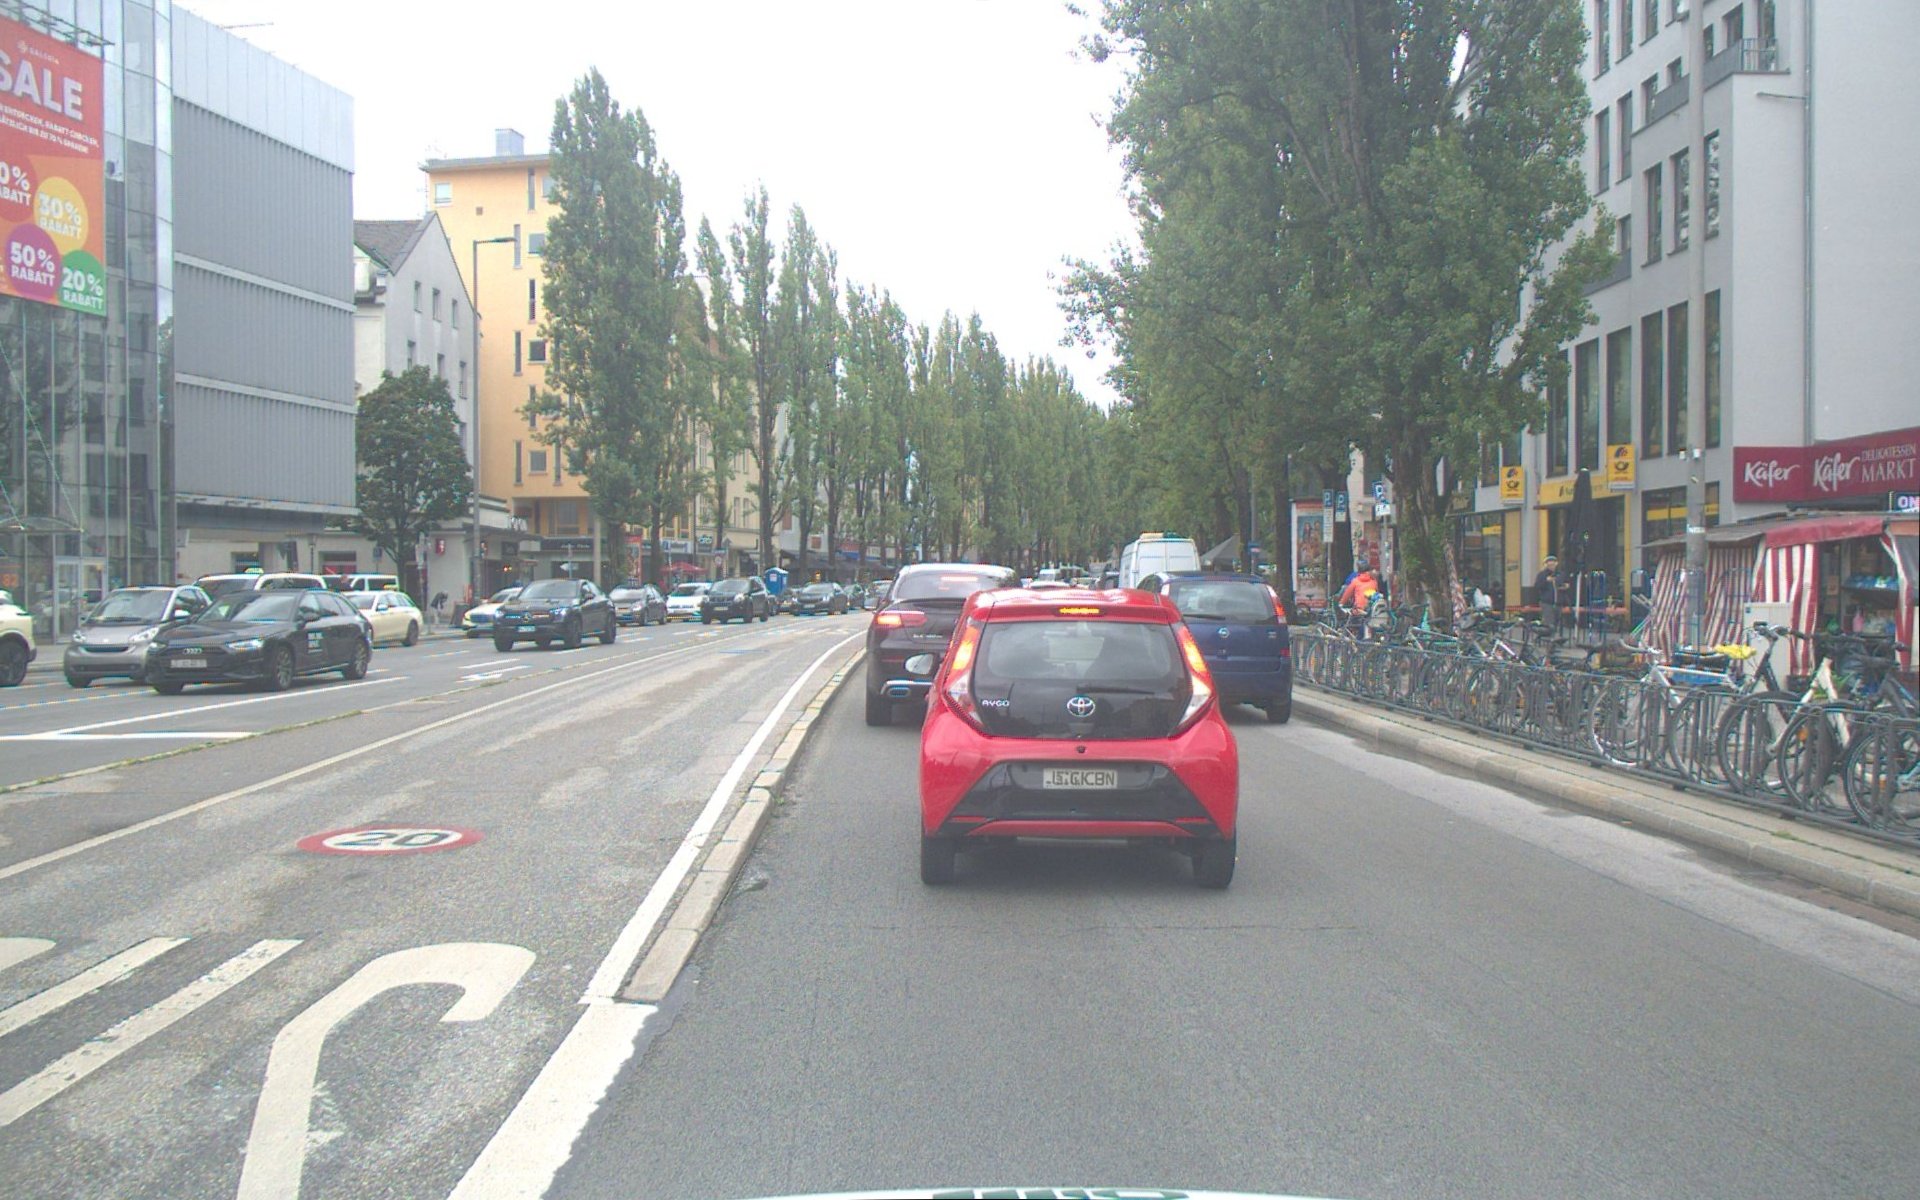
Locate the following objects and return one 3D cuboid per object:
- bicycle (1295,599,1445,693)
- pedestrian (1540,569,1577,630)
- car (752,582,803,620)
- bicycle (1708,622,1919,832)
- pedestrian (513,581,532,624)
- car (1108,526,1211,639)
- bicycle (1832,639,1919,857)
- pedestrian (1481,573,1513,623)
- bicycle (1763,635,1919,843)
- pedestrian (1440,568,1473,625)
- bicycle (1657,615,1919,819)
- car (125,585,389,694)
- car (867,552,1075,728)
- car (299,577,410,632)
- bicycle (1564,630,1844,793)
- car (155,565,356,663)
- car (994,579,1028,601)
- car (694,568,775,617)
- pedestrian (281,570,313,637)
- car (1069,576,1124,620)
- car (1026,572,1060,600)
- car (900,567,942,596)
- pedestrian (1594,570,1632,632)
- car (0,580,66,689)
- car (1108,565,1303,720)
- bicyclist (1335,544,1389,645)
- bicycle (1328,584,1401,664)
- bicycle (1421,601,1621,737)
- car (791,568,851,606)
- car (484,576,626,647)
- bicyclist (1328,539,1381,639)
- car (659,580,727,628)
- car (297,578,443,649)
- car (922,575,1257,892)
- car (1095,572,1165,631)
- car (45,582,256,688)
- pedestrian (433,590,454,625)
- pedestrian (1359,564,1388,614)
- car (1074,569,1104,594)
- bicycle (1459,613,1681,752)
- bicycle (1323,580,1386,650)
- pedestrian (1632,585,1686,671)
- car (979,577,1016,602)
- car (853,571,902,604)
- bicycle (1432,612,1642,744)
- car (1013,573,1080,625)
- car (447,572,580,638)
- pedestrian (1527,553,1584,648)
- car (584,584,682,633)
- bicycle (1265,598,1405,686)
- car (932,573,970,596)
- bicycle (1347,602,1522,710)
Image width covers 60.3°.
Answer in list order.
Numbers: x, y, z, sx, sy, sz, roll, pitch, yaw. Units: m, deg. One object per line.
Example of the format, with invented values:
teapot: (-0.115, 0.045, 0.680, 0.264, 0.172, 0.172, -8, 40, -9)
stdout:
bicycle: (5.277, 0.578, 21.351, 1.800, 1.156, 0.584, 0, 1, 35)
pedestrian: (15.650, -0.010, 43.267, 0.698, 1.585, 0.676, 0, 0, -1)
car: (-9.268, 0.024, 84.422, 1.817, 1.847, 4.002, 2, 0, 4)
bicycle: (5.563, 0.751, 10.018, 1.805, 1.188, 0.583, 0, 1, 42)
pedestrian: (-20.781, 0.105, 78.583, 0.673, 2.032, 0.765, 0, 0, -1)
car: (5.158, -0.475, 43.339, 2.064, 2.766, 4.804, -1, 1, 0)
bicycle: (5.626, 0.797, 8.691, 1.772, 1.130, 0.583, 0, 1, 42)
pedestrian: (14.490, -0.061, 44.607, 0.625, 1.328, 0.676, 0, 0, -1)
bicycle: (5.557, 0.788, 9.354, 1.772, 1.130, 0.488, 0, 1, 42)
pedestrian: (13.814, -0.104, 46.065, 0.698, 1.585, 0.676, 0, 0, -1)
bicycle: (5.574, 0.725, 10.800, 1.805, 1.218, 0.583, 0, 1, 42)
car: (-10.213, 0.511, 24.448, 1.806, 1.406, 4.602, -1, 1, 2)
car: (0.052, 0.347, 17.653, 1.953, 1.646, 3.999, -1, 1, -2)
car: (-20.809, 0.119, 57.045, 1.830, 1.803, 4.245, -1, 1, 7)
bicycle: (5.460, 0.781, 12.206, 1.805, 1.070, 0.583, 0, 1, 42)
car: (-15.824, 0.260, 37.534, 1.952, 2.049, 5.525, 0, 1, 3)
car: (4.014, -0.798, 129.542, 1.951, 1.721, 4.418, -1, 1, 11)
car: (-8.146, -0.297, 60.237, 1.951, 1.721, 4.924, 0, 1, 4)
pedestrian: (-18.404, 0.090, 45.919, 0.545, 1.849, 0.628, 0, 0, 10)
car: (5.029, -0.089, 61.231, 1.668, 1.556, 3.555, 0, 1, -1)
car: (4.655, -0.795, 92.318, 1.735, 1.464, 3.941, 0, 1, 5)
car: (-2.353, -1.123, 100.869, 1.951, 1.721, 4.924, 0, 1, 6)
pedestrian: (16.791, 0.024, 42.555, 0.698, 1.585, 0.676, 0, 0, -1)
car: (-16.094, 0.546, 25.381, 1.951, 1.708, 4.187, 0, 1, 11)
car: (2.734, 0.416, 19.089, 1.668, 1.617, 3.555, 0, 1, -1)
bicyclist: (6.874, -0.107, 28.333, 0.601, 1.686, 1.251, -1, 1, -1)
bicycle: (6.882, 0.374, 28.266, 0.601, 1.287, 2.519, -1, 1, 0)
bicycle: (5.530, 0.651, 16.367, 1.805, 1.263, 0.583, 0, 1, 42)
car: (-6.416, -0.632, 76.859, 1.951, 1.721, 4.925, 0, 1, 6)
car: (-9.382, 0.226, 38.680, 1.952, 1.561, 4.590, -1, 1, 3)
bicyclist: (7.634, -0.213, 32.029, 0.747, 1.902, 1.132, -1, 1, -1)
car: (-10.948, 0.132, 68.096, 1.817, 1.847, 4.002, 2, 0, 4)
car: (-15.281, 0.315, 43.127, 1.952, 1.684, 4.535, 2, 0, 3)
car: (0.605, 0.609, 9.380, 1.572, 1.487, 3.130, 0, 1, 0)
car: (5.050, 0.017, 49.393, 1.668, 1.691, 3.555, 0, 1, -1)
car: (-12.965, 0.517, 26.703, 1.590, 1.579, 3.386, 0, 1, 3)
pedestrian: (-19.534, 0.290, 62.560, 0.545, 1.313, 0.628, 0, 1, 10)
pedestrian: (13.597, -0.373, 54.393, 0.748, 1.621, 0.676, -1, 1, -1)
car: (10.007, -1.463, 128.006, 1.951, 1.870, 4.004, -1, 1, 9)
bicycle: (5.487, 0.711, 14.938, 1.805, 1.156, 0.583, 0, 1, 42)
bicycle: (7.641, 0.262, 32.138, 0.601, 1.287, 2.519, -1, 1, 0)
pedestrian: (13.433, 0.534, 31.795, 0.718, 1.630, 0.742, 0, 0, -1)
car: (2.805, -0.790, 122.061, 1.951, 1.721, 4.418, -1, 1, 11)
car: (-4.479, -0.686, 90.447, 1.951, 1.721, 4.924, 1, 0, 6)
bicycle: (5.454, 0.709, 15.699, 1.805, 1.156, 0.583, 0, 1, 42)
car: (2.483, -0.048, 48.154, 1.665, 1.451, 3.496, -1, 1, -2)
car: (-13.712, 0.128, 51.080, 1.951, 1.847, 4.537, -2, 1, 14)
pedestrian: (11.171, -0.001, 31.066, 0.774, 1.758, 0.763, -1, 0, -1)
car: (-11.634, 0.270, 59.162, 1.951, 1.637, 4.537, -1, 1, 9)
bicycle: (5.162, 0.560, 22.816, 1.800, 1.156, 0.584, 0, 1, 35)
car: (-0.662, -1.186, 124.027, 1.951, 1.721, 4.418, -1, 1, 11)
bicycle: (5.328, 0.607, 18.622, 1.800, 1.156, 0.584, 0, 1, 35)
